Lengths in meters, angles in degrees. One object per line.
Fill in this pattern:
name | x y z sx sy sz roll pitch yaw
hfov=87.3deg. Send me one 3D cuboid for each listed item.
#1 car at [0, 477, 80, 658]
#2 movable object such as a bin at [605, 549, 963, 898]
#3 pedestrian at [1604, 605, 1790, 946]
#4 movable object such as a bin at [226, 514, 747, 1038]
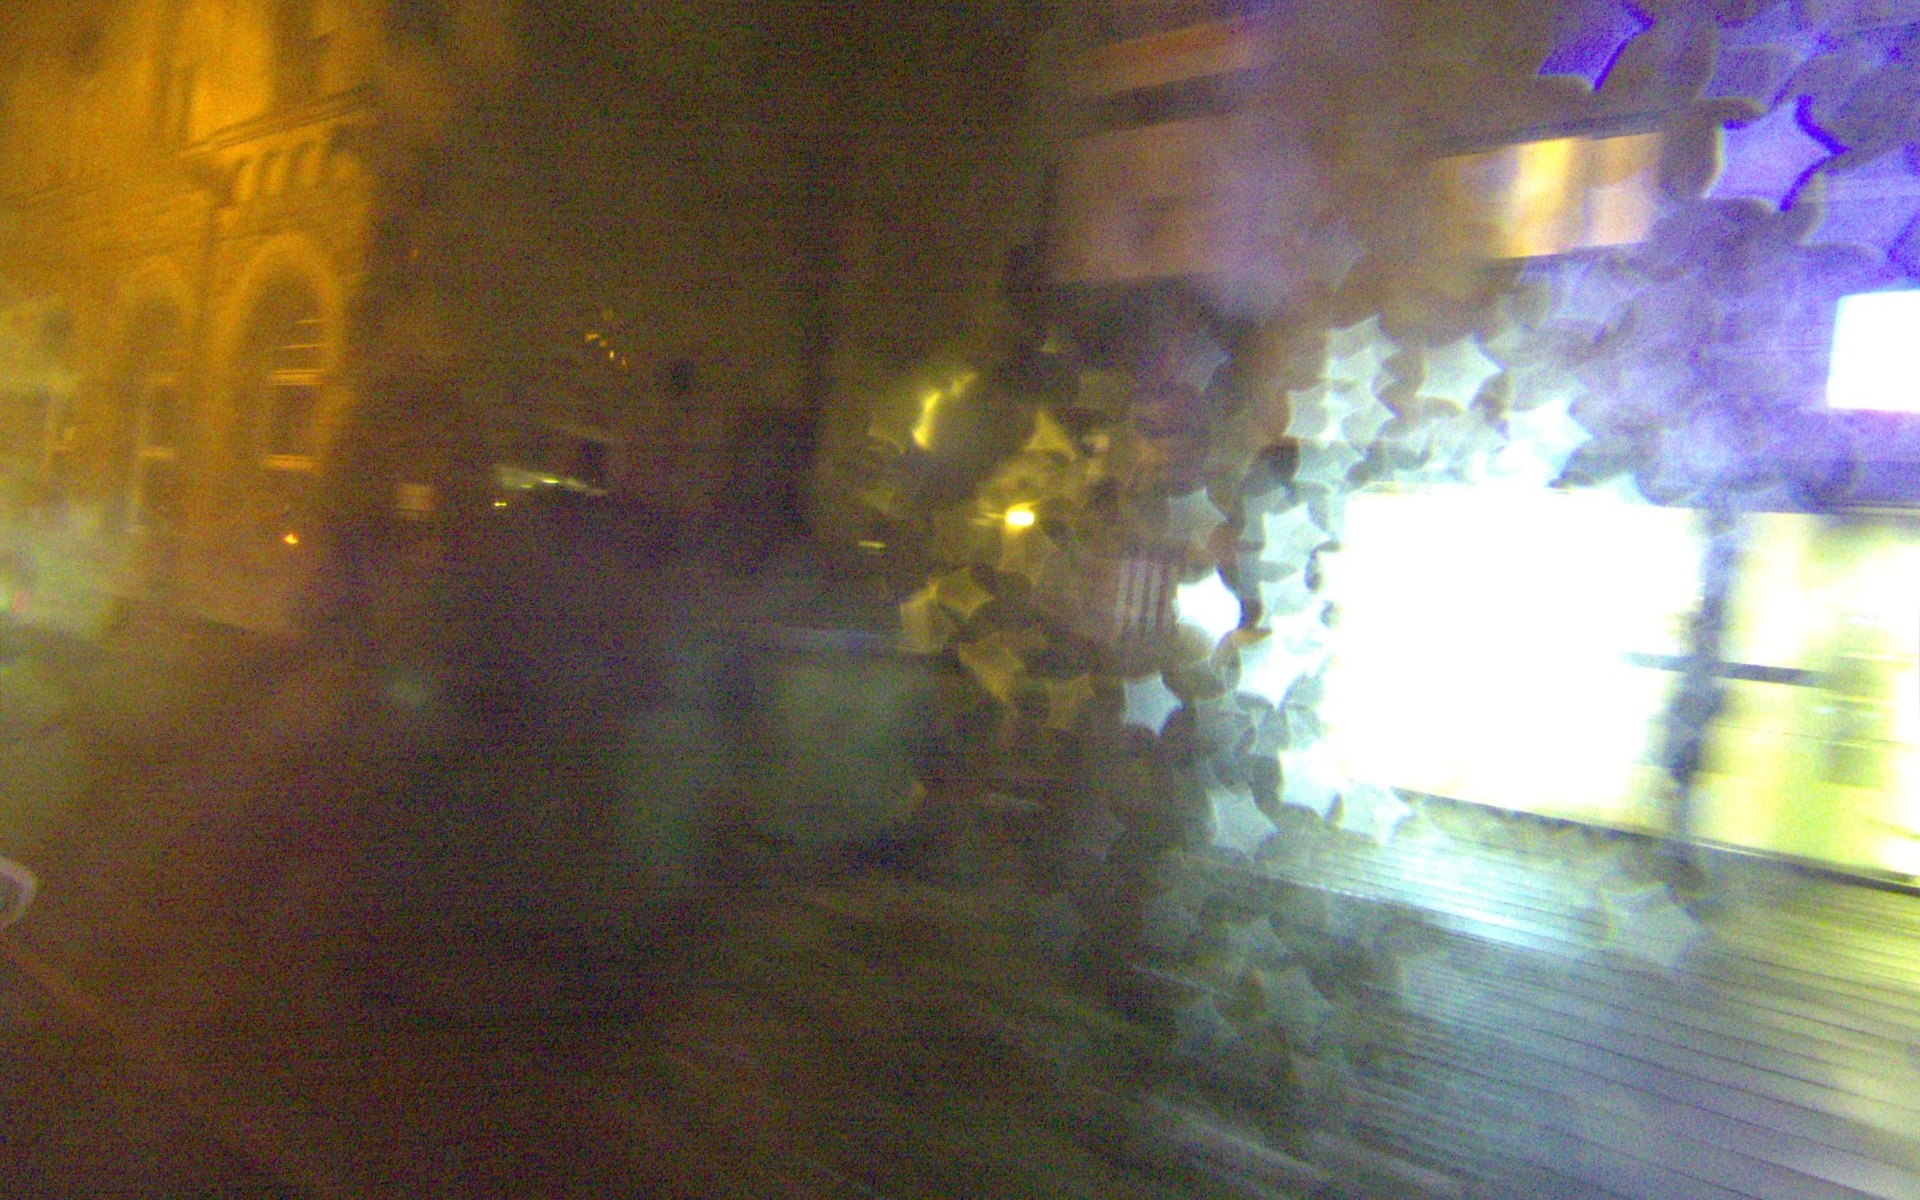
car | -10.057 -0.536 9.023 4.343 1.482 1.996 7 0 32
movable object such as a bin | -0.875 0.570 5.140 1.035 1.447 1.307 7 1 41
pedestrian | 4.314 0.980 5.936 0.614 1.812 0.702 9 4 35
movable object such as a bin | -1.546 0.540 3.672 1.180 1.447 1.340 7 0 -5
